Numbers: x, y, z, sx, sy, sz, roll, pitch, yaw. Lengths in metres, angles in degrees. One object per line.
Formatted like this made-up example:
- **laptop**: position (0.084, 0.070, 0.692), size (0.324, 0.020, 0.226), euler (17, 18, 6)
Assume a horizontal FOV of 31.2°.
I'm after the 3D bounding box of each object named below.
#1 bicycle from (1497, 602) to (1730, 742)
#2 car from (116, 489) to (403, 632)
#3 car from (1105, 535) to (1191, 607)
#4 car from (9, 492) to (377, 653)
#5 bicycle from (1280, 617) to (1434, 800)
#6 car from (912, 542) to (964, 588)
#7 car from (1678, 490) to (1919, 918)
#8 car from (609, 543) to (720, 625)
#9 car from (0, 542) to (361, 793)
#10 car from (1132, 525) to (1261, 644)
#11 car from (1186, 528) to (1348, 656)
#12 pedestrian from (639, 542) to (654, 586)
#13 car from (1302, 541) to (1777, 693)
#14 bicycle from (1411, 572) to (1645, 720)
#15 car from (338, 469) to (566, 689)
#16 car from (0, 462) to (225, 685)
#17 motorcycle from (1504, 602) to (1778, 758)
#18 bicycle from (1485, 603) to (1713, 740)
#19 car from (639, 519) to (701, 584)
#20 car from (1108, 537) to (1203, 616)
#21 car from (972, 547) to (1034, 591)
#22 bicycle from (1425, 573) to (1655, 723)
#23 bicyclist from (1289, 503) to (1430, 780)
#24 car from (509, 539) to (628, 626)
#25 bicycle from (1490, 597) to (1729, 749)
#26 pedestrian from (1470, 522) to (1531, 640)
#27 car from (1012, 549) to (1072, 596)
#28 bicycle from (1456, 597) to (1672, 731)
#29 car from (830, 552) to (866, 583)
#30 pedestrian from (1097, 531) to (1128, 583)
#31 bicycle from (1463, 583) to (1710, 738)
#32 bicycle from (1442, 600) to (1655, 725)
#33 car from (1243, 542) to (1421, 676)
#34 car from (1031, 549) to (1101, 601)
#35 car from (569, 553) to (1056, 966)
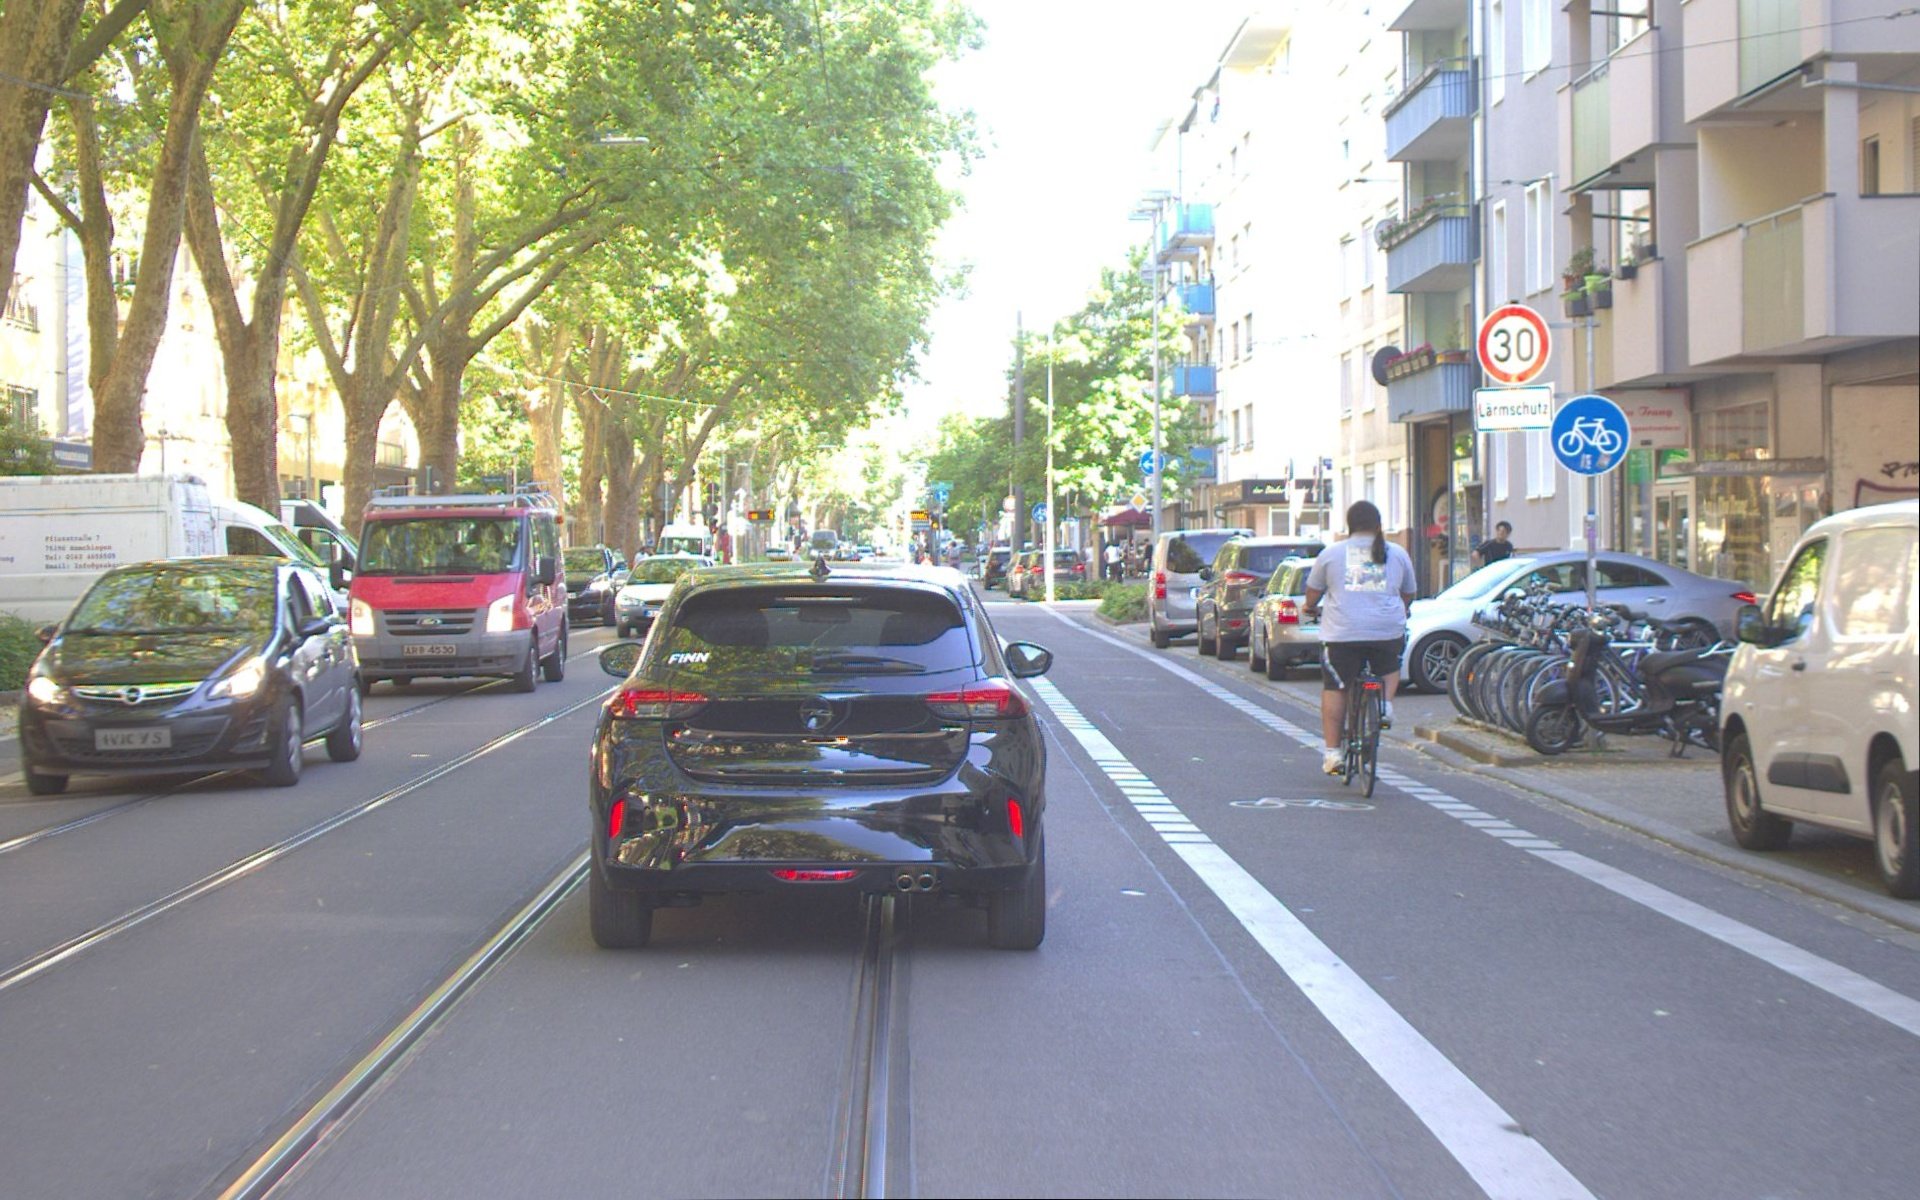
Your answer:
- **bicycle**: position (4.975, 0.546, 26.201), size (1.652, 0.983, 0.457), euler (-2, 1, -1)
- **car**: position (-12.878, -0.741, 63.467), size (4.943, 2.559, 2.083), euler (0, 1, -4)
- **car**: position (4.448, -0.701, 81.759), size (1.858, 1.646, 4.000), euler (0, 1, 1)
- **car**: position (-12.103, -0.446, 54.515), size (5.360, 2.469, 2.057), euler (0, 1, 0)
- **bicycle**: position (2.543, 0.674, 22.220), size (0.701, 1.088, 1.990), euler (1, 0, -1)
- **car**: position (-0.804, -1.307, 127.666), size (1.858, 1.646, 4.000), euler (0, 1, 1)
- **car**: position (4.935, 0.398, 16.726), size (1.858, 1.814, 4.351), euler (-1, 1, -1)
- **car**: position (-5.085, -0.297, 59.515), size (1.718, 1.354, 4.470), euler (0, 1, -2)
- **car**: position (-5.051, 0.382, 22.723), size (1.718, 1.504, 3.723), euler (0, 1, -3)
- **car**: position (3.869, -0.281, 56.972), size (1.858, 1.883, 4.924), euler (0, 1, 1)
- **car**: position (4.270, -0.137, 48.309), size (1.766, 1.699, 4.283), euler (0, 1, -2)
- **pedestrian**: position (-11.201, -1.297, 122.797), size (0.506, 1.577, 0.527), euler (0, 1, -4)
- **car**: position (6.172, 0.158, 36.776), size (4.612, 1.432, 1.865), euler (-2, 1, -11)
- **bicycle**: position (4.887, 0.391, 29.610), size (1.892, 1.187, 0.457), euler (-2, 1, -1)
- **car**: position (-5.421, -0.250, 37.258), size (1.917, 2.219, 4.961), euler (0, 1, -2)
- **car**: position (-11.663, -0.332, 40.068), size (5.740, 2.527, 2.162), euler (0, 1, 0)
- **motorcycle**: position (4.887, 0.575, 24.680), size (1.820, 1.076, 0.617), euler (-1, 0, 23)
- **bicycle**: position (4.964, 0.550, 26.746), size (1.652, 0.983, 0.457), euler (-2, 1, -1)
- **car**: position (-11.761, -1.967, 139.784), size (2.092, 2.575, 5.997), euler (-1, 1, -1)
- **car**: position (4.174, -0.526, 73.814), size (1.858, 1.646, 4.000), euler (0, 1, 1)
- **car**: position (1.627, -1.196, 131.072), size (1.993, 1.634, 4.001), euler (0, 1, -5)
- **bicycle**: position (4.908, 0.404, 29.127), size (1.823, 1.187, 0.457), euler (-2, 1, -1)
- **bicyclist**: position (2.580, 0.259, 22.266), size (0.786, 1.753, 0.915), euler (0, 0, -1)
- **car**: position (-8.167, -0.392, 72.141), size (1.993, 1.694, 4.485), euler (-2, 1, -1)
- **bicycle**: position (4.836, 0.541, 25.625), size (1.652, 1.051, 0.457), euler (-2, 1, -1)
- **pedestrian**: position (7.994, -0.284, 50.833), size (0.756, 1.714, 0.720), euler (-1, 1, -2)
- **car**: position (2.670, -0.913, 112.194), size (1.718, 1.485, 3.682), euler (-1, 1, -2)
- **bicycle**: position (4.940, 0.521, 28.154), size (1.652, 1.017, 0.457), euler (-2, 1, -1)
- **car**: position (-6.087, -1.764, 187.351), size (1.750, 1.646, 4.000), euler (0, 1, 1)
- **pedestrian**: position (5.147, -1.461, 116.078), size (0.769, 1.742, 0.794), euler (0, 1, 30)
- **bicycle**: position (4.993, 0.476, 27.461), size (1.793, 1.144, 0.704), euler (-2, 1, -1)
- **bicycle**: position (4.898, 0.518, 28.652), size (1.652, 0.963, 0.457), euler (-2, 1, -1)
- **car**: position (4.457, 0.066, 41.763), size (1.724, 1.520, 4.513), euler (-1, 1, 1)
- **car**: position (3.265, -0.786, 106.732), size (1.718, 1.568, 4.085), euler (-1, 1, -5)
- **car**: position (-0.555, 0.540, 13.863), size (1.679, 1.418, 3.628), euler (1, 1, -1)
